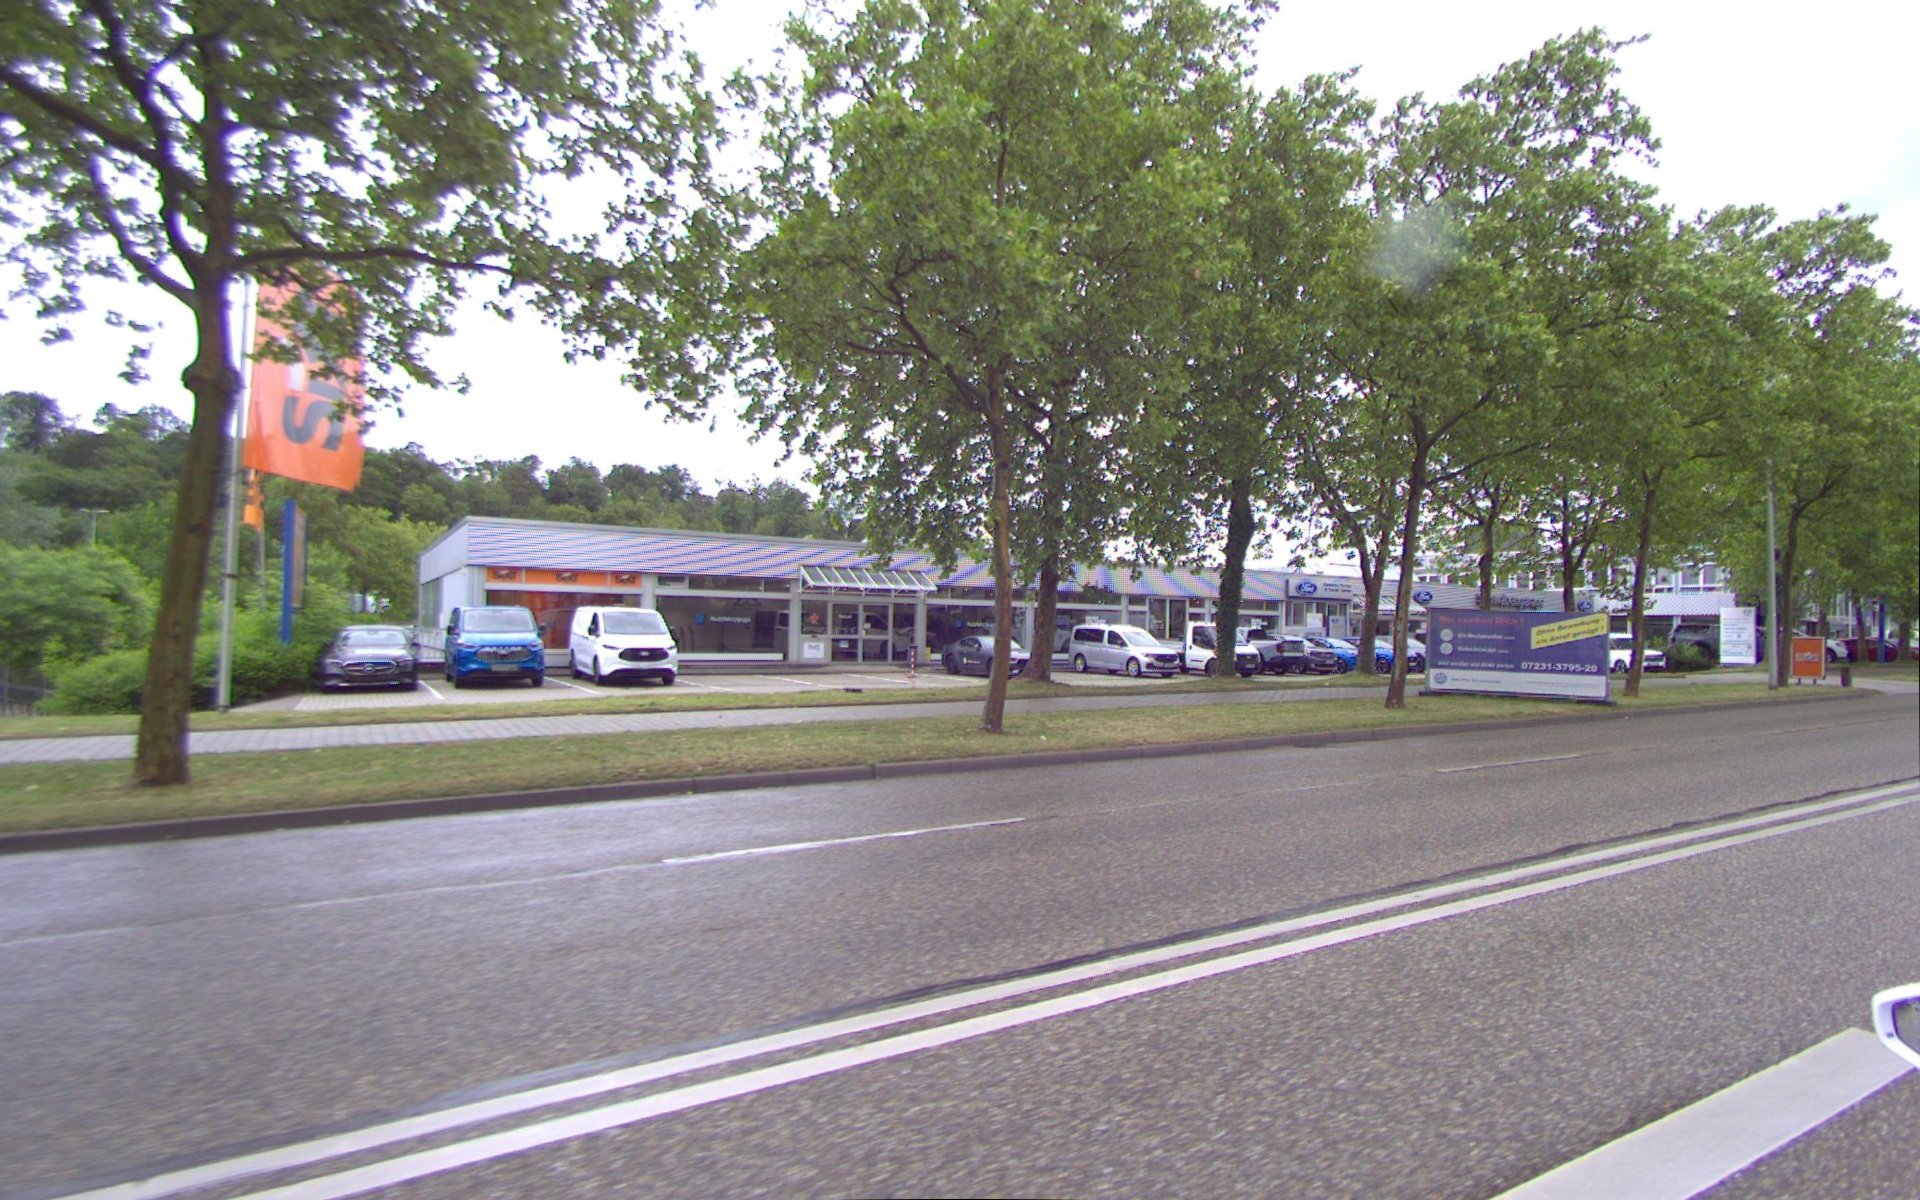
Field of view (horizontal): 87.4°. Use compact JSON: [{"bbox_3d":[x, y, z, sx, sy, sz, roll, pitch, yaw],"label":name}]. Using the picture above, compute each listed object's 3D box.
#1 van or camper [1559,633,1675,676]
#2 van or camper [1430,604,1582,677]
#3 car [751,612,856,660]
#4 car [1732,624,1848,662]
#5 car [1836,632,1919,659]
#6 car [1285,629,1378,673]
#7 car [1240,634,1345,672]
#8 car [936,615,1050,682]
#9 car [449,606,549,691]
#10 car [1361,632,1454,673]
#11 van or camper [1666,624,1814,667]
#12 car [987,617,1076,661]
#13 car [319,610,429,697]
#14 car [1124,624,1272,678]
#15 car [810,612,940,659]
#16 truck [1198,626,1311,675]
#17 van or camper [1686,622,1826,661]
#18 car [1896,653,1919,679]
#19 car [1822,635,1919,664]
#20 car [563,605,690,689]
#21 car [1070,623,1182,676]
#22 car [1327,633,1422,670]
[{"bbox_3d":[29.308,2.411,45.005,1.804,1.808,4.644,0,-2,-6],"label":"van or camper"},{"bbox_3d":[20.299,1.473,37.206,6.327,2.503,1.984,1,0,-31],"label":"van or camper"},{"bbox_3d":[-6.437,1.464,41.585,3.807,1.767,1.914,2,0,11],"label":"car"},{"bbox_3d":[41.797,2.122,50.722,4.397,1.840,1.993,-1,-2,37],"label":"car"},{"bbox_3d":[58.856,2.951,64.154,4.164,1.674,2.006,-2,-4,36],"label":"car"},{"bbox_3d":[16.015,2.167,43.508,1.834,1.790,3.988,1,-2,-15],"label":"car"},{"bbox_3d":[13.910,2.199,42.232,2.008,1.480,3.972,1,-2,-27],"label":"car"},{"bbox_3d":[1.013,1.548,33.066,1.862,2.040,3.965,1,-2,-32],"label":"car"},{"bbox_3d":[-11.517,1.159,24.985,1.940,1.914,3.969,1,-2,-29],"label":"car"},{"bbox_3d":[20.457,2.370,46.051,1.833,1.790,3.989,1,-2,-14],"label":"car"},{"bbox_3d":[35.899,2.056,46.444,5.211,1.845,2.260,-1,-2,34],"label":"van or camper"},{"bbox_3d":[2.995,1.627,42.941,1.844,1.790,3.965,1,-2,-32],"label":"car"},{"bbox_3d":[-13.662,1.199,23.553,2.041,1.837,4.108,1,-2,-29],"label":"car"},{"bbox_3d":[9.002,1.878,38.481,2.391,1.928,5.344,1,-2,-33],"label":"car"},{"bbox_3d":[-3.729,1.504,43.832,5.257,1.862,2.385,0,-1,32],"label":"car"},{"bbox_3d":[11.817,1.991,40.427,1.984,1.862,3.954,2,-2,-40],"label":"truck"},{"bbox_3d":[39.027,2.034,49.463,5.290,1.792,2.098,-1,-5,37],"label":"van or camper"},{"bbox_3d":[63.464,4.273,64.821,4.164,1.617,1.993,-2,-3,36],"label":"car"},{"bbox_3d":[56.306,3.031,62.070,4.496,1.617,1.992,0,-1,37],"label":"car"},{"bbox_3d":[-9.039,1.207,26.947,2.106,2.040,5.018,1,-2,-32],"label":"car"},{"bbox_3d":[5.983,1.748,36.527,1.862,1.790,3.965,1,-2,-32],"label":"car"},{"bbox_3d":[18.345,2.268,44.626,1.834,1.540,3.987,1,-2,-16],"label":"car"}]
